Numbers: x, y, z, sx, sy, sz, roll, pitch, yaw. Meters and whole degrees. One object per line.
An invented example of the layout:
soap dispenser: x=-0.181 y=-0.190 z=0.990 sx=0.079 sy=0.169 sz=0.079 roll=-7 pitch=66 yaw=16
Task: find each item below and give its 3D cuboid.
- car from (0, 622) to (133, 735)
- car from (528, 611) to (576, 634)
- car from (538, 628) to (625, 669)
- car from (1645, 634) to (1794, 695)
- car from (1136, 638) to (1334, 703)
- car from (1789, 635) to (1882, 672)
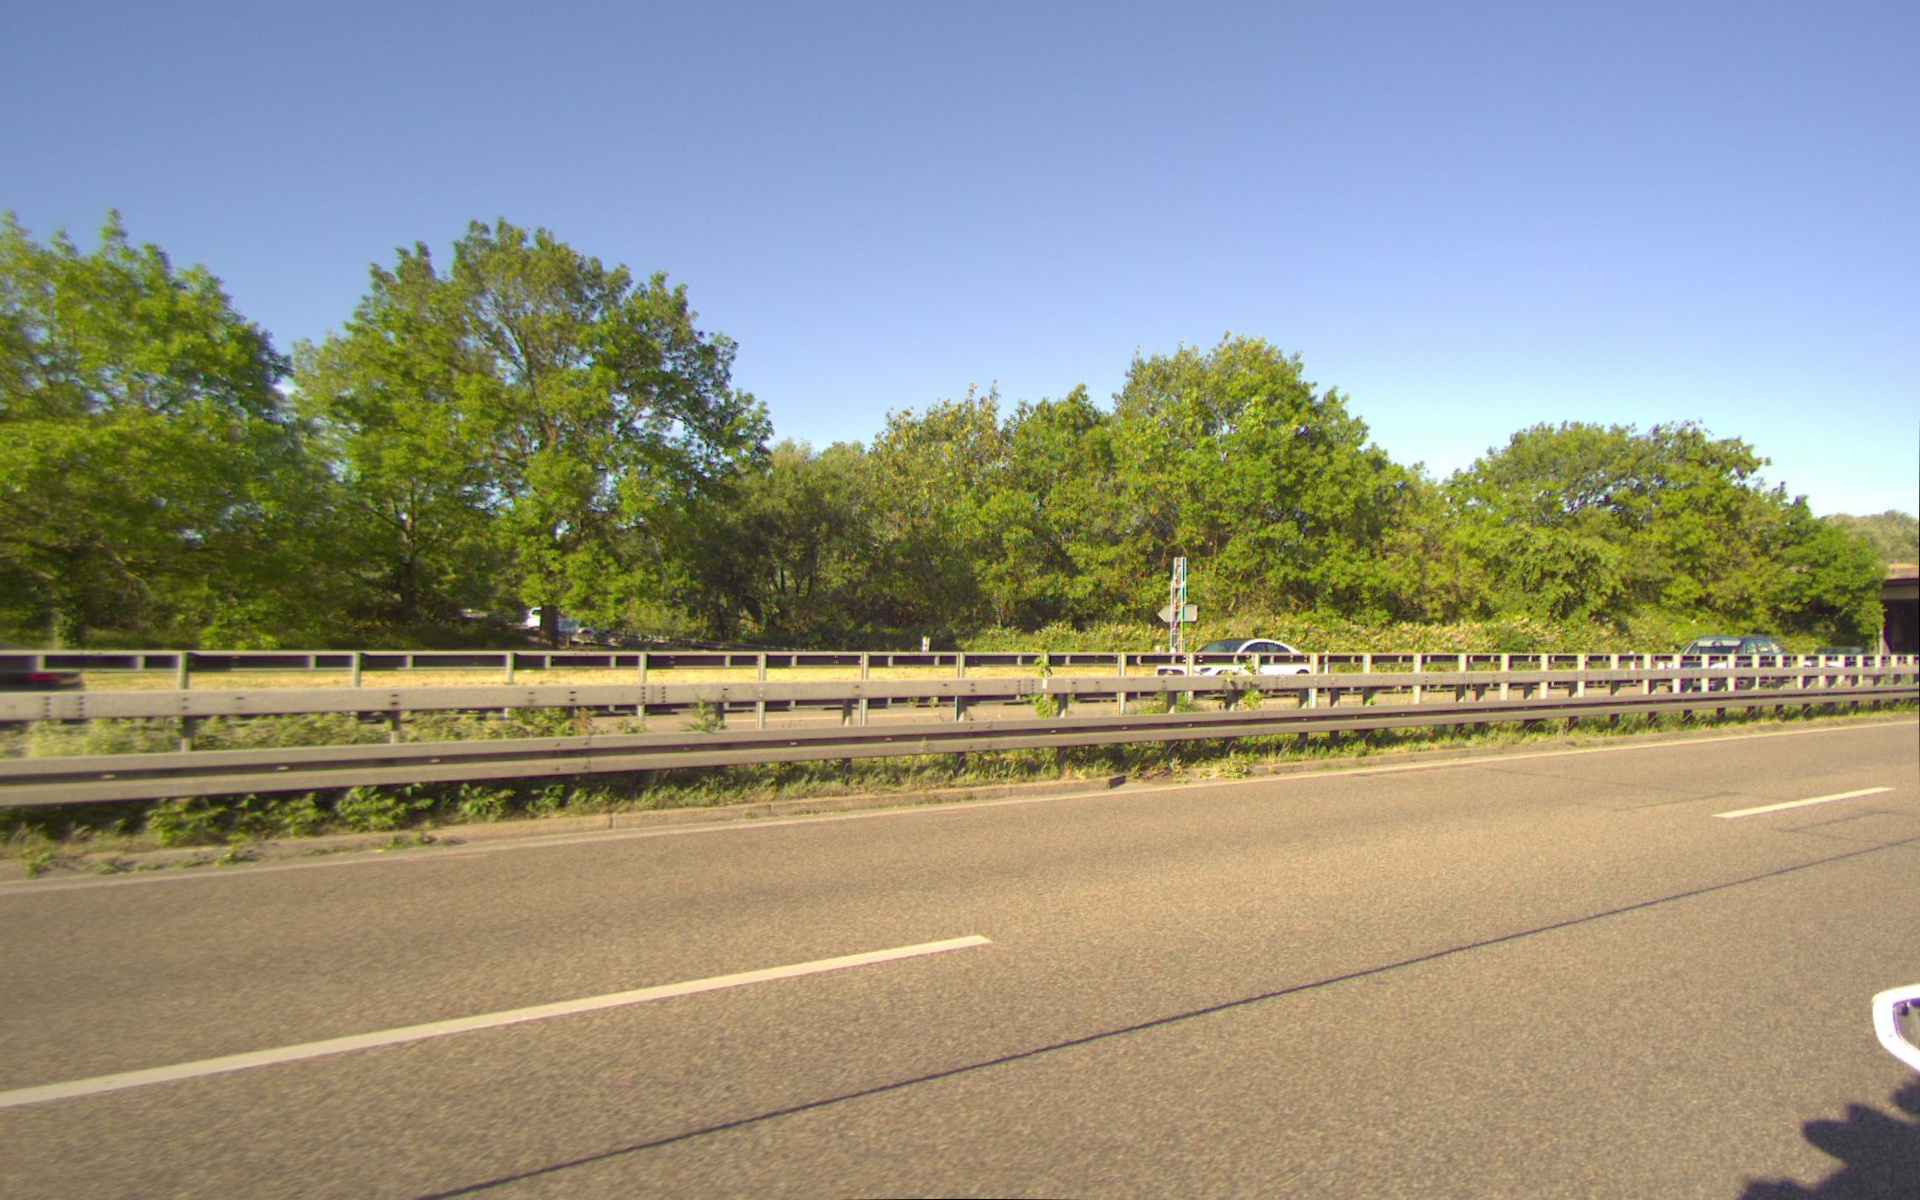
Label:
car: x=-14.064 y=0.990 z=13.059 sx=4.773 sy=1.433 sz=1.984 roll=2 pitch=-1 yaw=-30
car: x=-30.557 y=1.712 z=75.348 sx=1.962 sy=1.662 sz=4.718 roll=1 pitch=-1 yaw=-4
car: x=-18.397 y=2.309 z=48.709 sx=4.652 sy=1.828 sz=1.990 roll=0 pitch=-2 yaw=41
car: x=22.663 y=1.887 z=29.932 sx=4.667 sy=1.662 sz=1.983 roll=2 pitch=-1 yaw=-31
car: x=6.827 y=1.687 z=24.786 sx=4.776 sy=1.433 sz=1.983 roll=2 pitch=-2 yaw=-31
car: x=42.219 y=2.553 z=48.413 sx=4.970 sy=1.662 sz=1.983 roll=2 pitch=-1 yaw=-31
